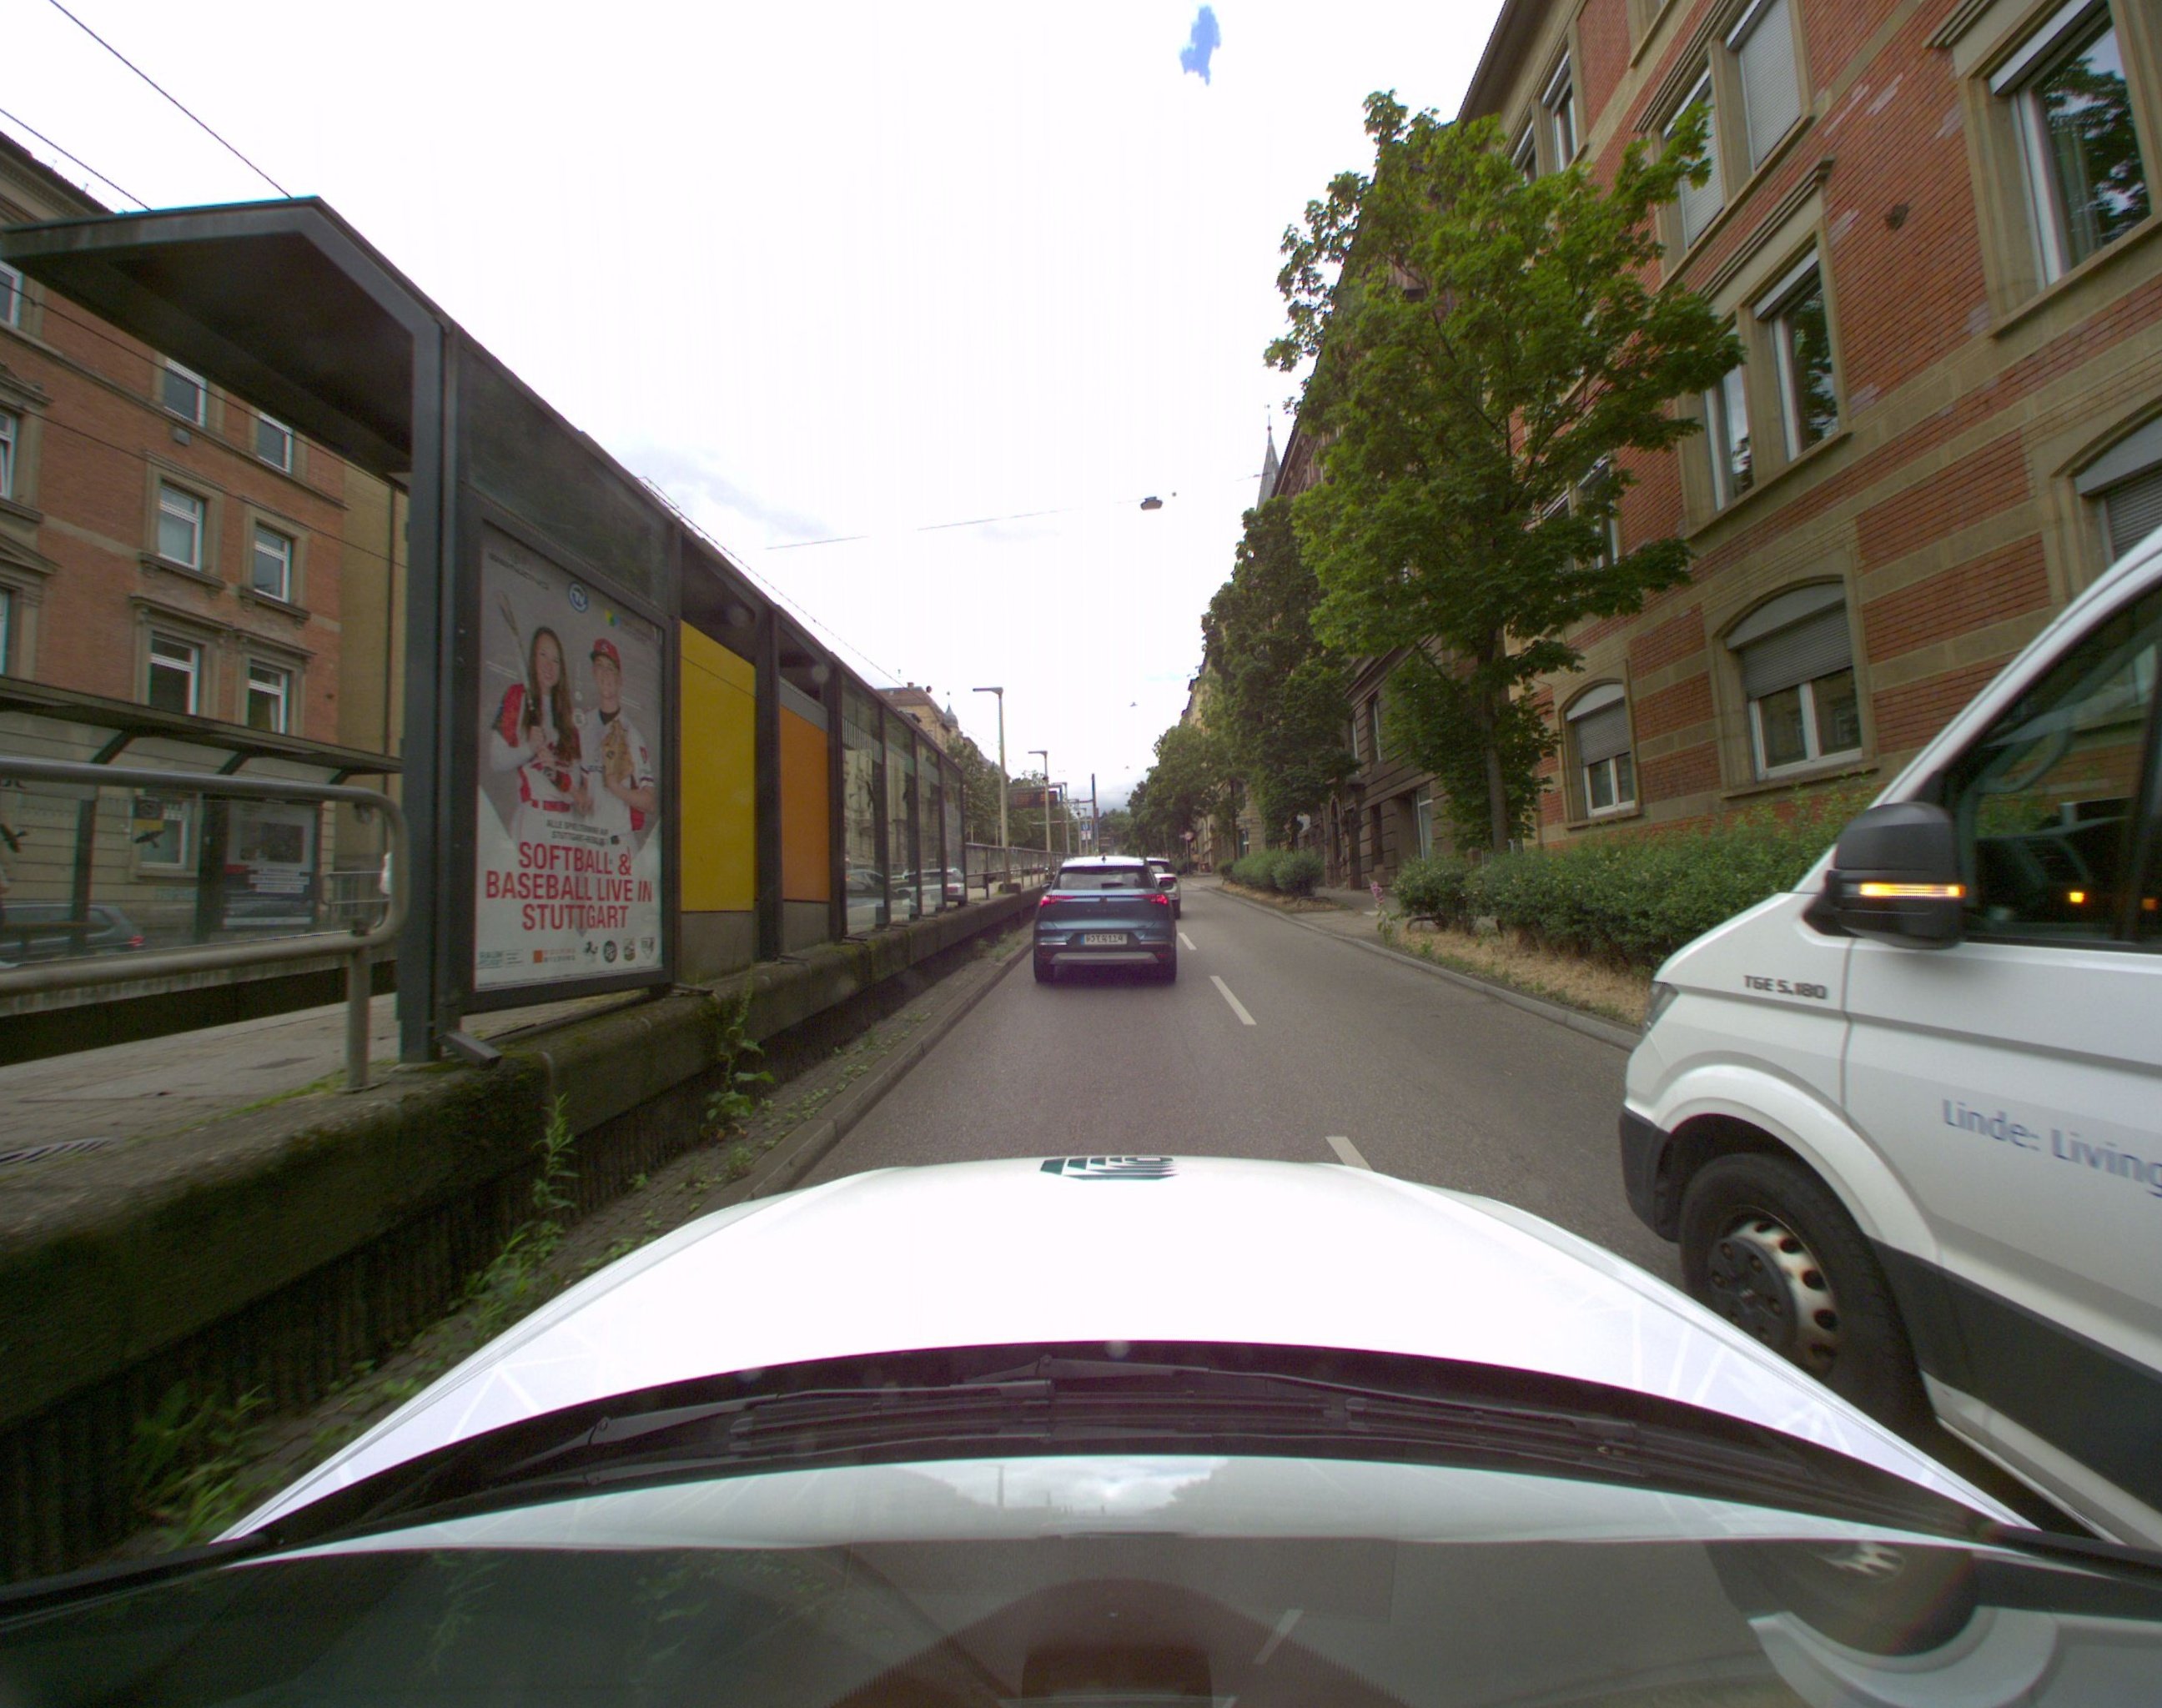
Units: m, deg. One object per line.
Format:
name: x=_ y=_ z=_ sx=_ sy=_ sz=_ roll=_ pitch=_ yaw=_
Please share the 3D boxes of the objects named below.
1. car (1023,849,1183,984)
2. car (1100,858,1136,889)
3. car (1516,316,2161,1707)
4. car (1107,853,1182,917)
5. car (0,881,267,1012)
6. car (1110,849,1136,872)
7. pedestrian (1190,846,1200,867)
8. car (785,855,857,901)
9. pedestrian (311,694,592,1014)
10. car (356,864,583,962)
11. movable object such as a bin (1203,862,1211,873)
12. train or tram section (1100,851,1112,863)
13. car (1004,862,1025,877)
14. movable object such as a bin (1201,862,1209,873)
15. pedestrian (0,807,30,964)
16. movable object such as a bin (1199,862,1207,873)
car: x=0.378 y=0.753 z=11.516 sx=1.828 sy=1.546 sz=4.197 roll=-1 pitch=-1 yaw=3
car: x=2.015 y=1.029 z=43.508 sx=1.828 sy=1.546 sz=4.197 roll=-1 pitch=-1 yaw=3
car: x=2.761 y=0.295 z=0.272 sx=2.248 sy=2.287 sz=5.972 roll=-1 pitch=0 yaw=3
car: x=1.785 y=0.788 z=21.979 sx=1.826 sy=1.546 sz=4.201 roll=-1 pitch=-1 yaw=6
car: x=-16.099 y=1.399 z=12.890 sx=1.838 sy=1.734 sz=4.383 roll=-2 pitch=0 yaw=3
car: x=3.063 y=0.491 z=58.800 sx=1.828 sy=1.546 sz=4.197 roll=-1 pitch=-1 yaw=3
pedestrian: x=10.359 y=0.211 z=74.004 sx=0.683 sy=1.829 sz=1.122 roll=-4 pitch=-2 yaw=3
car: x=-14.433 y=1.275 z=45.574 sx=1.985 sy=2.305 sz=5.459 roll=-2 pitch=0 yaw=3
pedestrian: x=-3.327 y=-0.002 z=4.404 sx=0.763 sy=1.524 sz=0.903 roll=-2 pitch=0 yaw=-1
car: x=-12.843 y=1.146 z=17.461 sx=1.816 sy=1.764 sz=3.866 roll=-2 pitch=0 yaw=2
movable object such as a bin: x=11.017 y=1.151 z=71.205 sx=0.496 sy=0.919 sz=0.446 roll=-3 pitch=-1 yaw=22
train or tram section: x=7.568 y=1.013 z=244.396 sx=2.982 sy=3.349 sz=13.452 roll=-2 pitch=-1 yaw=4
car: x=-7.801 y=1.801 z=95.814 sx=1.928 sy=1.679 sz=4.003 roll=-3 pitch=0 yaw=3
movable object such as a bin: x=10.950 y=1.158 z=71.864 sx=0.504 sy=0.919 sz=0.487 roll=-3 pitch=-1 yaw=-39
pedestrian: x=-11.018 y=0.319 z=8.073 sx=0.460 sy=1.562 sz=0.541 roll=-2 pitch=-1 yaw=2
movable object such as a bin: x=10.859 y=1.162 z=72.459 sx=0.609 sy=0.919 sz=0.494 roll=-4 pitch=-1 yaw=5
